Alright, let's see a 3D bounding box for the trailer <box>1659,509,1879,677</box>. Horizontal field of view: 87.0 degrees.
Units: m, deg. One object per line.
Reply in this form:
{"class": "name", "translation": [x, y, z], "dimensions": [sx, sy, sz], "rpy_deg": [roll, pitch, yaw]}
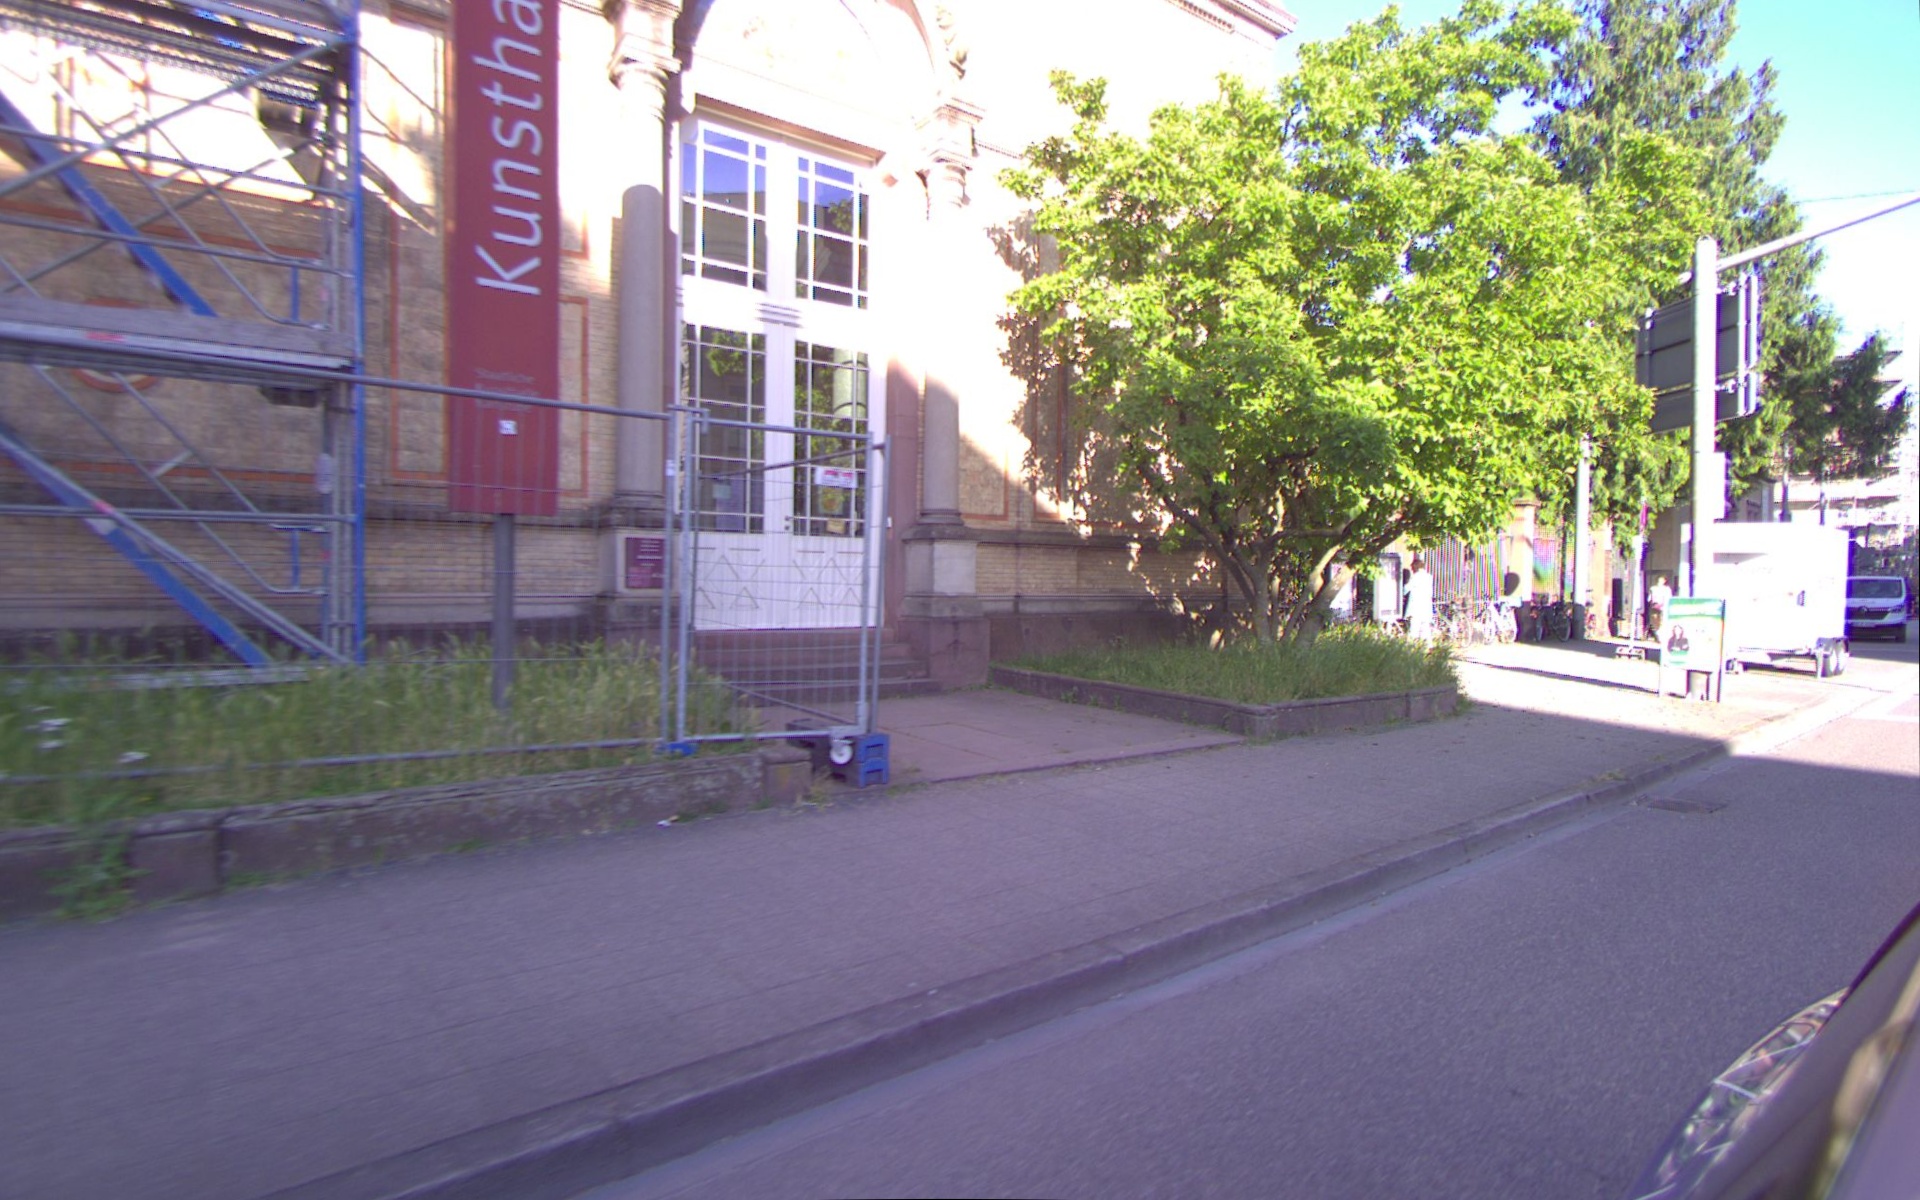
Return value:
{"class": "trailer", "translation": [14.188, -0.172, 17.676], "dimensions": [4.412, 2.559, 2.084], "rpy_deg": [0, 3, -40]}

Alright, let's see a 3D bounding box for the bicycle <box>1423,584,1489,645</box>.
{"class": "bicycle", "translation": [9.700, 0.270, 19.761], "dimensions": [1.649, 1.119, 0.400], "rpy_deg": [0, 3, -37]}

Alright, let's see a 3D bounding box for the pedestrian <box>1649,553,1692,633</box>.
{"class": "pedestrian", "translation": [17.460, -0.188, 24.864], "dimensions": [0.714, 1.918, 0.877], "rpy_deg": [3, 2, 40]}

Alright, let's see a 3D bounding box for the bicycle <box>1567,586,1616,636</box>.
{"class": "bicycle", "translation": [15.690, 0.256, 25.136], "dimensions": [1.793, 1.170, 0.419], "rpy_deg": [0, 3, -39]}

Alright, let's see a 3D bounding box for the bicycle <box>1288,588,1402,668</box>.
{"class": "bicycle", "translation": [5.528, 0.380, 14.581], "dimensions": [0.470, 1.052, 1.469], "rpy_deg": [0, 2, -40]}

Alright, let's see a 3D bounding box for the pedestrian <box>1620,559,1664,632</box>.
{"class": "pedestrian", "translation": [16.475, -0.117, 24.458], "dimensions": [0.682, 1.722, 0.683], "rpy_deg": [0, 2, -42]}

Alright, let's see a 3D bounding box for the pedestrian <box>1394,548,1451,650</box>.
{"class": "pedestrian", "translation": [8.339, -0.026, 18.244], "dimensions": [0.724, 1.790, 0.641], "rpy_deg": [0, 1, -38]}

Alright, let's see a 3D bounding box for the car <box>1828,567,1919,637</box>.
{"class": "car", "translation": [28.074, 0.009, 30.996], "dimensions": [2.014, 1.970, 5.396], "rpy_deg": [0, 1, 44]}

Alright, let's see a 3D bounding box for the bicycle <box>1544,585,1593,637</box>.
{"class": "bicycle", "translation": [13.923, 0.228, 23.146], "dimensions": [1.894, 1.144, 0.395], "rpy_deg": [0, 1, -42]}

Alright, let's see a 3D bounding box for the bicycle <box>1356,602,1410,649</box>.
{"class": "bicycle", "translation": [7.606, 0.443, 18.164], "dimensions": [1.425, 0.803, 0.264], "rpy_deg": [0, 1, -41]}

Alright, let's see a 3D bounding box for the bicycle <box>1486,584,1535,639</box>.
{"class": "bicycle", "translation": [11.750, 0.238, 21.585], "dimensions": [1.503, 1.119, 0.275], "rpy_deg": [0, 3, -37]}
